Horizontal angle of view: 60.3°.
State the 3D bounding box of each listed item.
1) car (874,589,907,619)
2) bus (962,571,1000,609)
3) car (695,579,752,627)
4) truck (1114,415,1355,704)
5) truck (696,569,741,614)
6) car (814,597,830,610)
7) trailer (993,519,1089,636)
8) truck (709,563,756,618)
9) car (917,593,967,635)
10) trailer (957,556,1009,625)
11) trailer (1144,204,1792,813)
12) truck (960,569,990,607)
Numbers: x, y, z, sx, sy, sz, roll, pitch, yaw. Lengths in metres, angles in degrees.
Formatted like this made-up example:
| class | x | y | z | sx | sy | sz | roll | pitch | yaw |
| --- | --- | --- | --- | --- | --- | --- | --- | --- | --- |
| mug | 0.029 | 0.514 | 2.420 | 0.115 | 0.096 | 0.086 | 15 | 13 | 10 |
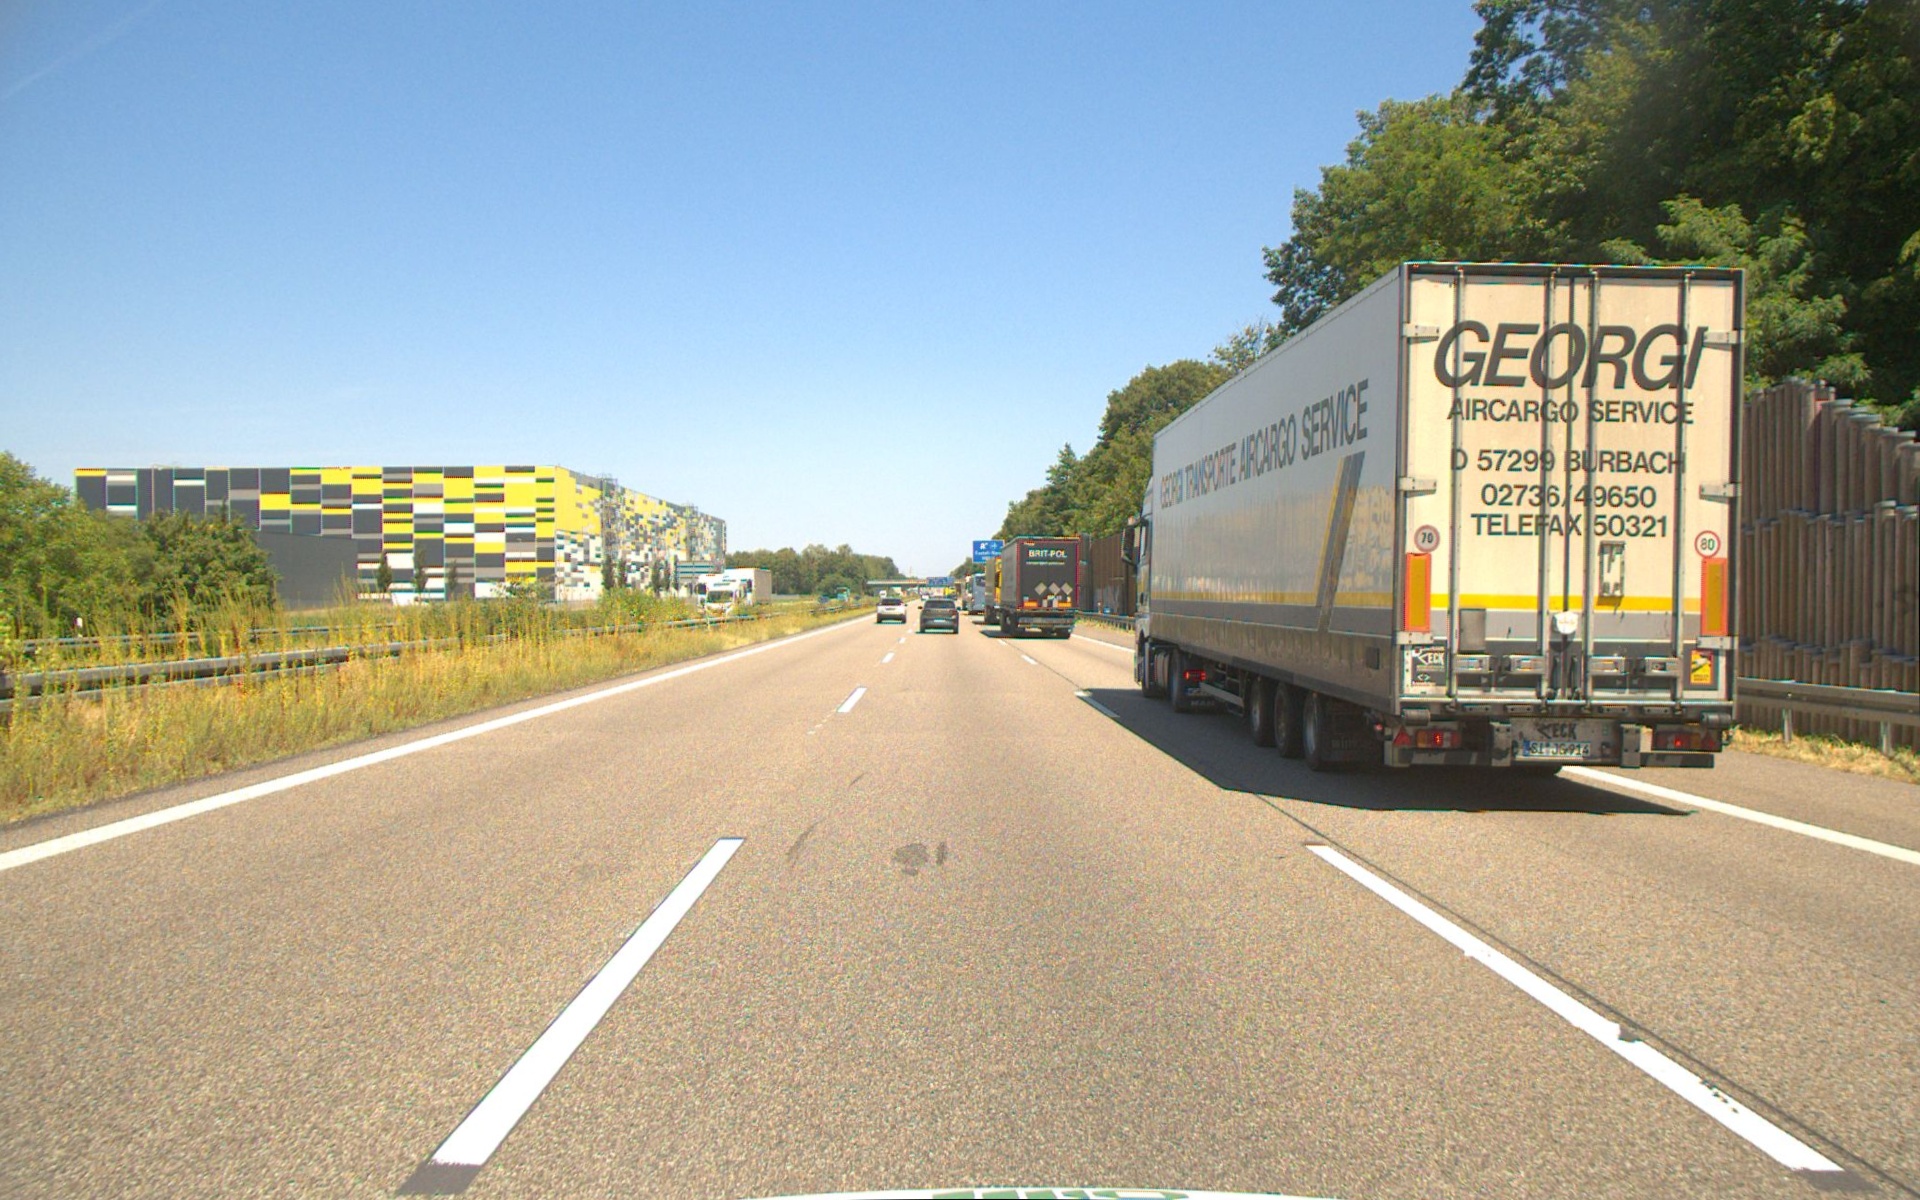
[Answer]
| class | x | y | z | sx | sy | sz | roll | pitch | yaw |
| --- | --- | --- | --- | --- | --- | --- | --- | --- | --- |
| car | -4.227 | 0.221 | 100.803 | 1.953 | 1.758 | 4.129 | 0 | 0 | -2 |
| bus | 1.840 | -0.905 | 151.022 | 3.001 | 3.385 | 8.270 | -1 | 0 | -2 |
| car | -15.532 | 0.164 | 109.167 | 2.494 | 3.034 | 8.085 | 0 | 0 | 1 |
| truck | 4.264 | -0.580 | 26.823 | 2.942 | 4.197 | 5.251 | 1 | 0 | -1 |
| truck | -22.587 | -0.756 | 155.051 | 2.595 | 3.952 | 10.825 | -3 | 0 | -1 |
| car | -20.384 | 0.592 | 244.956 | 1.953 | 1.709 | 5.550 | -1 | -2 | -1 |
| trailer | 3.373 | -0.894 | 73.018 | 3.043 | 4.585 | 14.891 | 1 | 0 | -2 |
| truck | -19.210 | -0.784 | 139.856 | 3.096 | 4.503 | 6.979 | -1 | 0 | -1 |
| car | -0.844 | 0.620 | 75.430 | 2.171 | 1.821 | 5.392 | 0 | 0 | -1 |
| trailer | 1.339 | -0.600 | 102.580 | 2.777 | 4.023 | 11.681 | 0 | 0 | -1 |
| trailer | 4.442 | -0.660 | 18.708 | 2.933 | 4.364 | 13.415 | 1 | 0 | -1 |
| truck | 1.664 | -1.359 | 192.168 | 3.353 | 4.198 | 9.563 | -1 | 0 | 0 |
